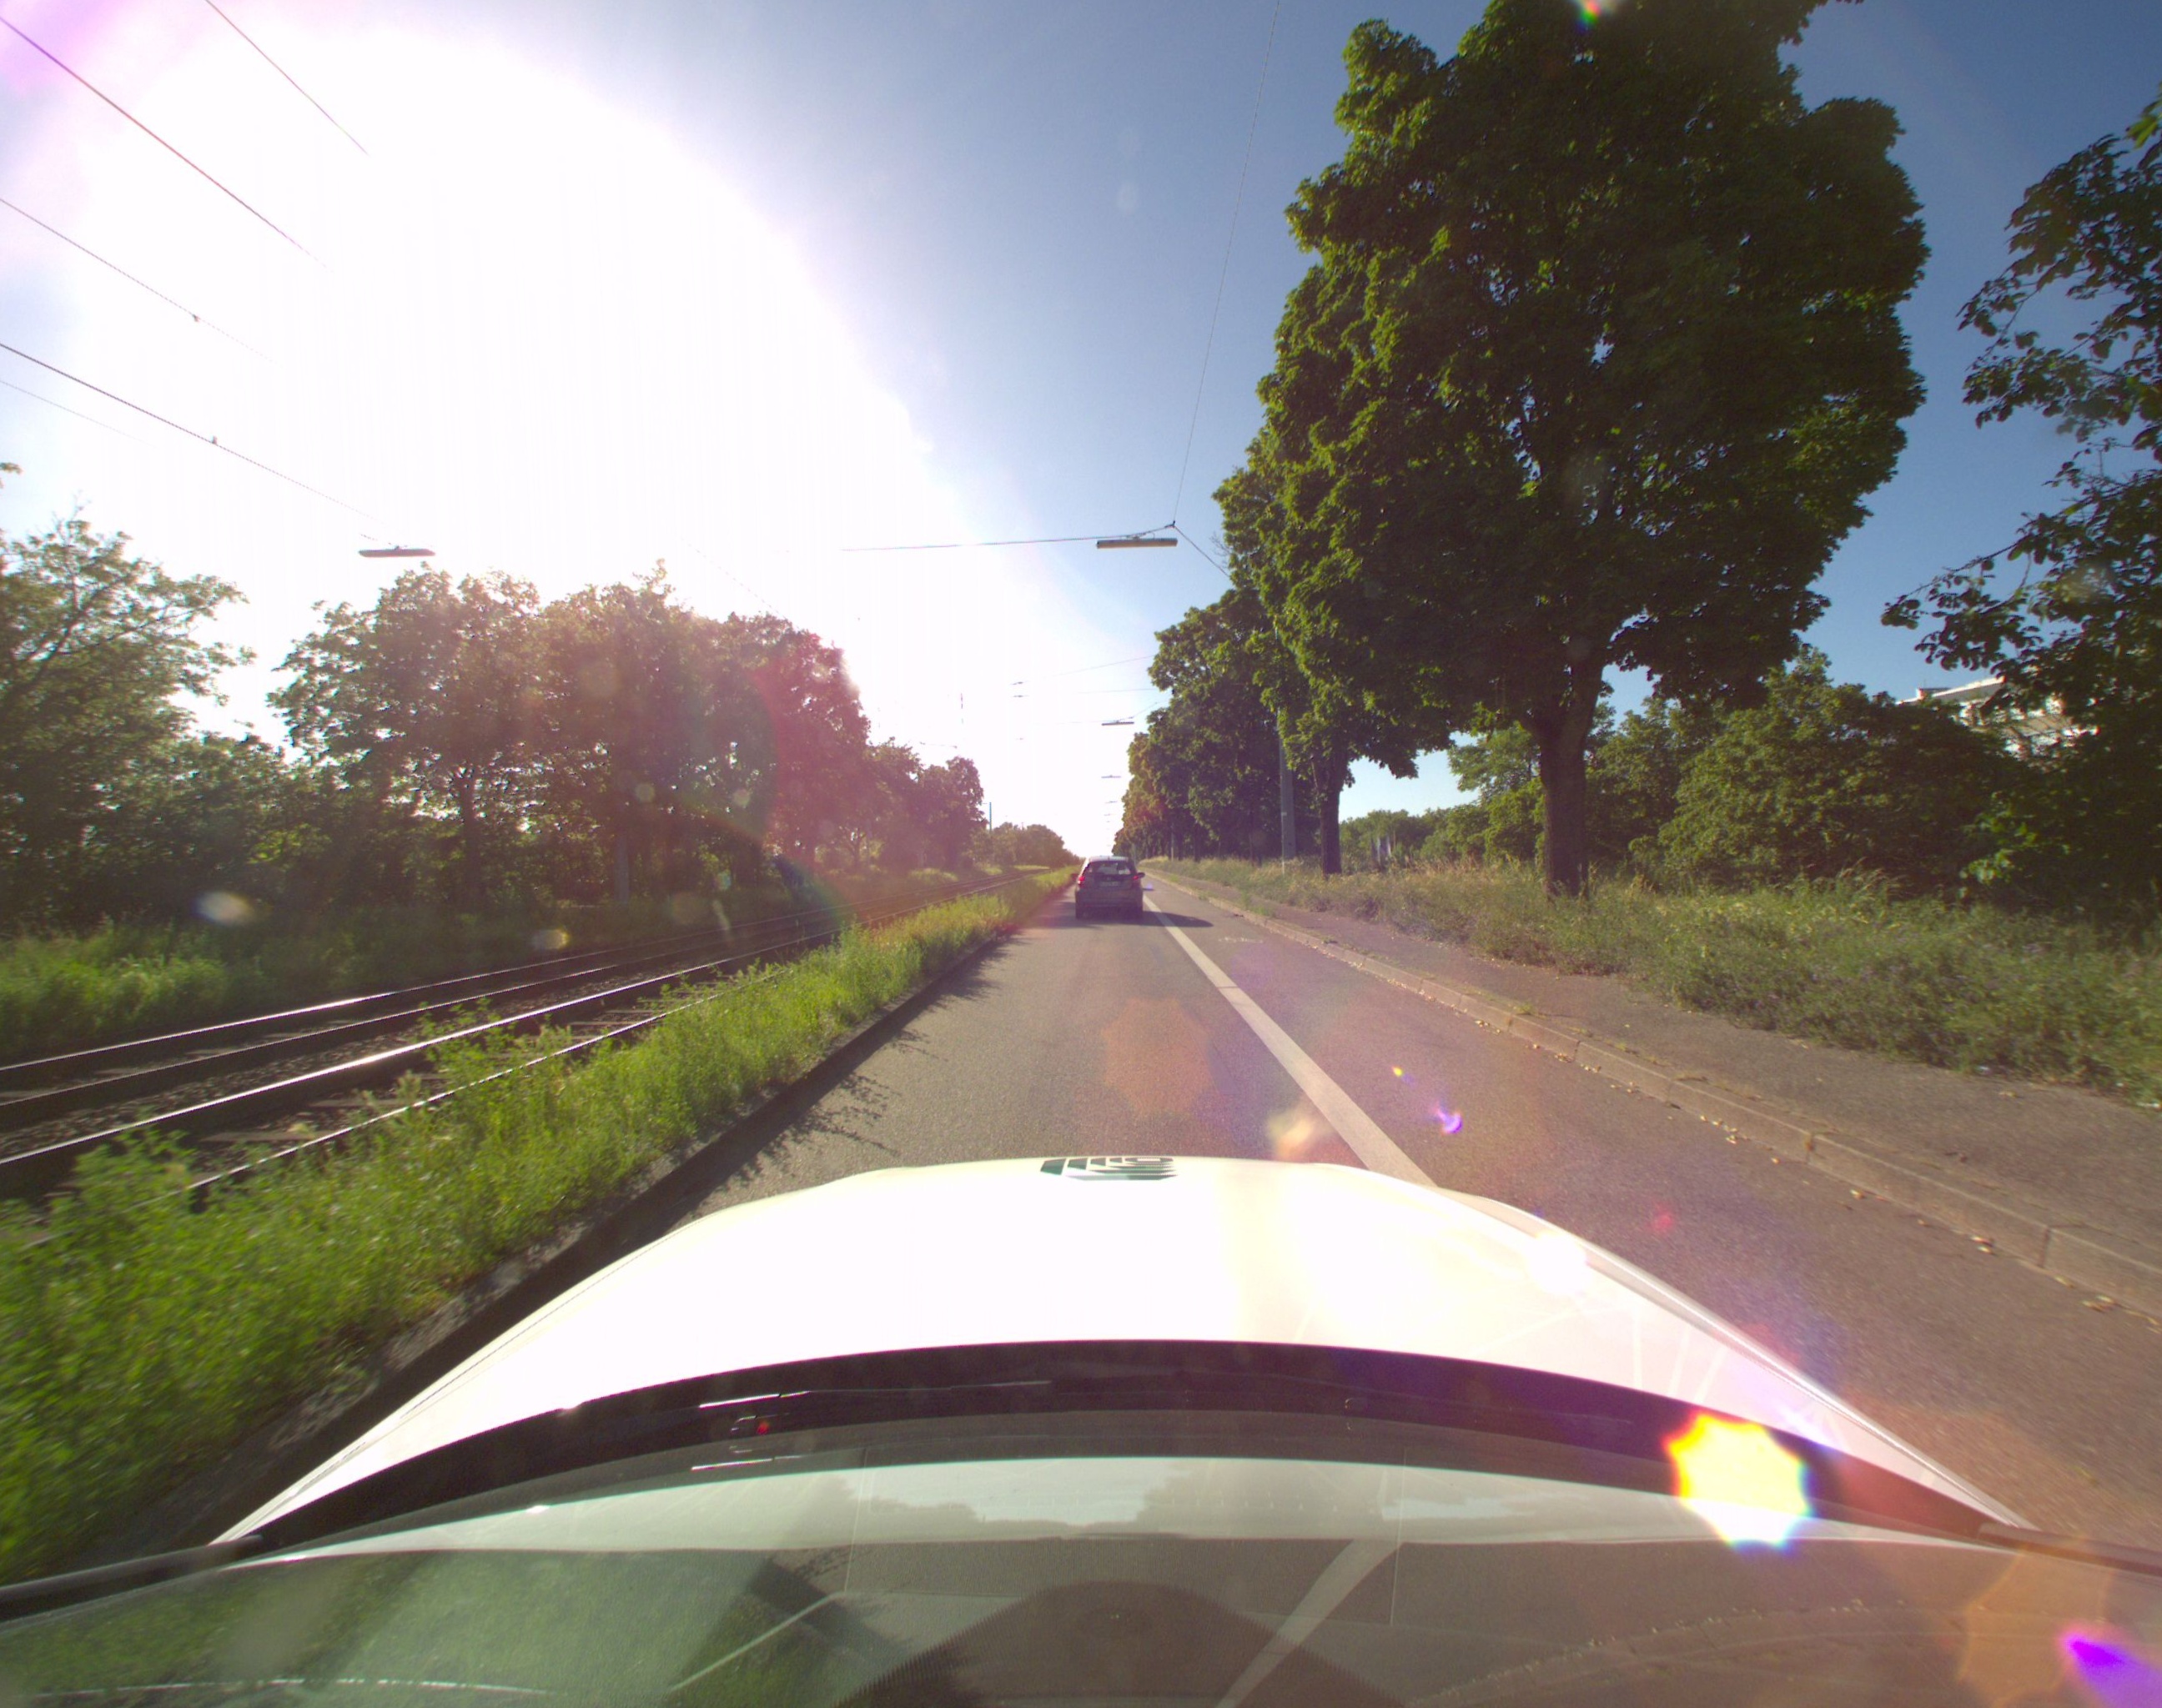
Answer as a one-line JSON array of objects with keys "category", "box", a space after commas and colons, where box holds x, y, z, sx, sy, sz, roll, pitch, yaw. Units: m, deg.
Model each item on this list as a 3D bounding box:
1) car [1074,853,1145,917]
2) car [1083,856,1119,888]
[{"category": "car", "box": [0.754, 0.749, 21.186, 1.663, 1.507, 3.813, 0, 0, 2]}, {"category": "car", "box": [1.018, 0.846, 39.756, 1.648, 1.507, 3.813, 0, 0, 2]}]
